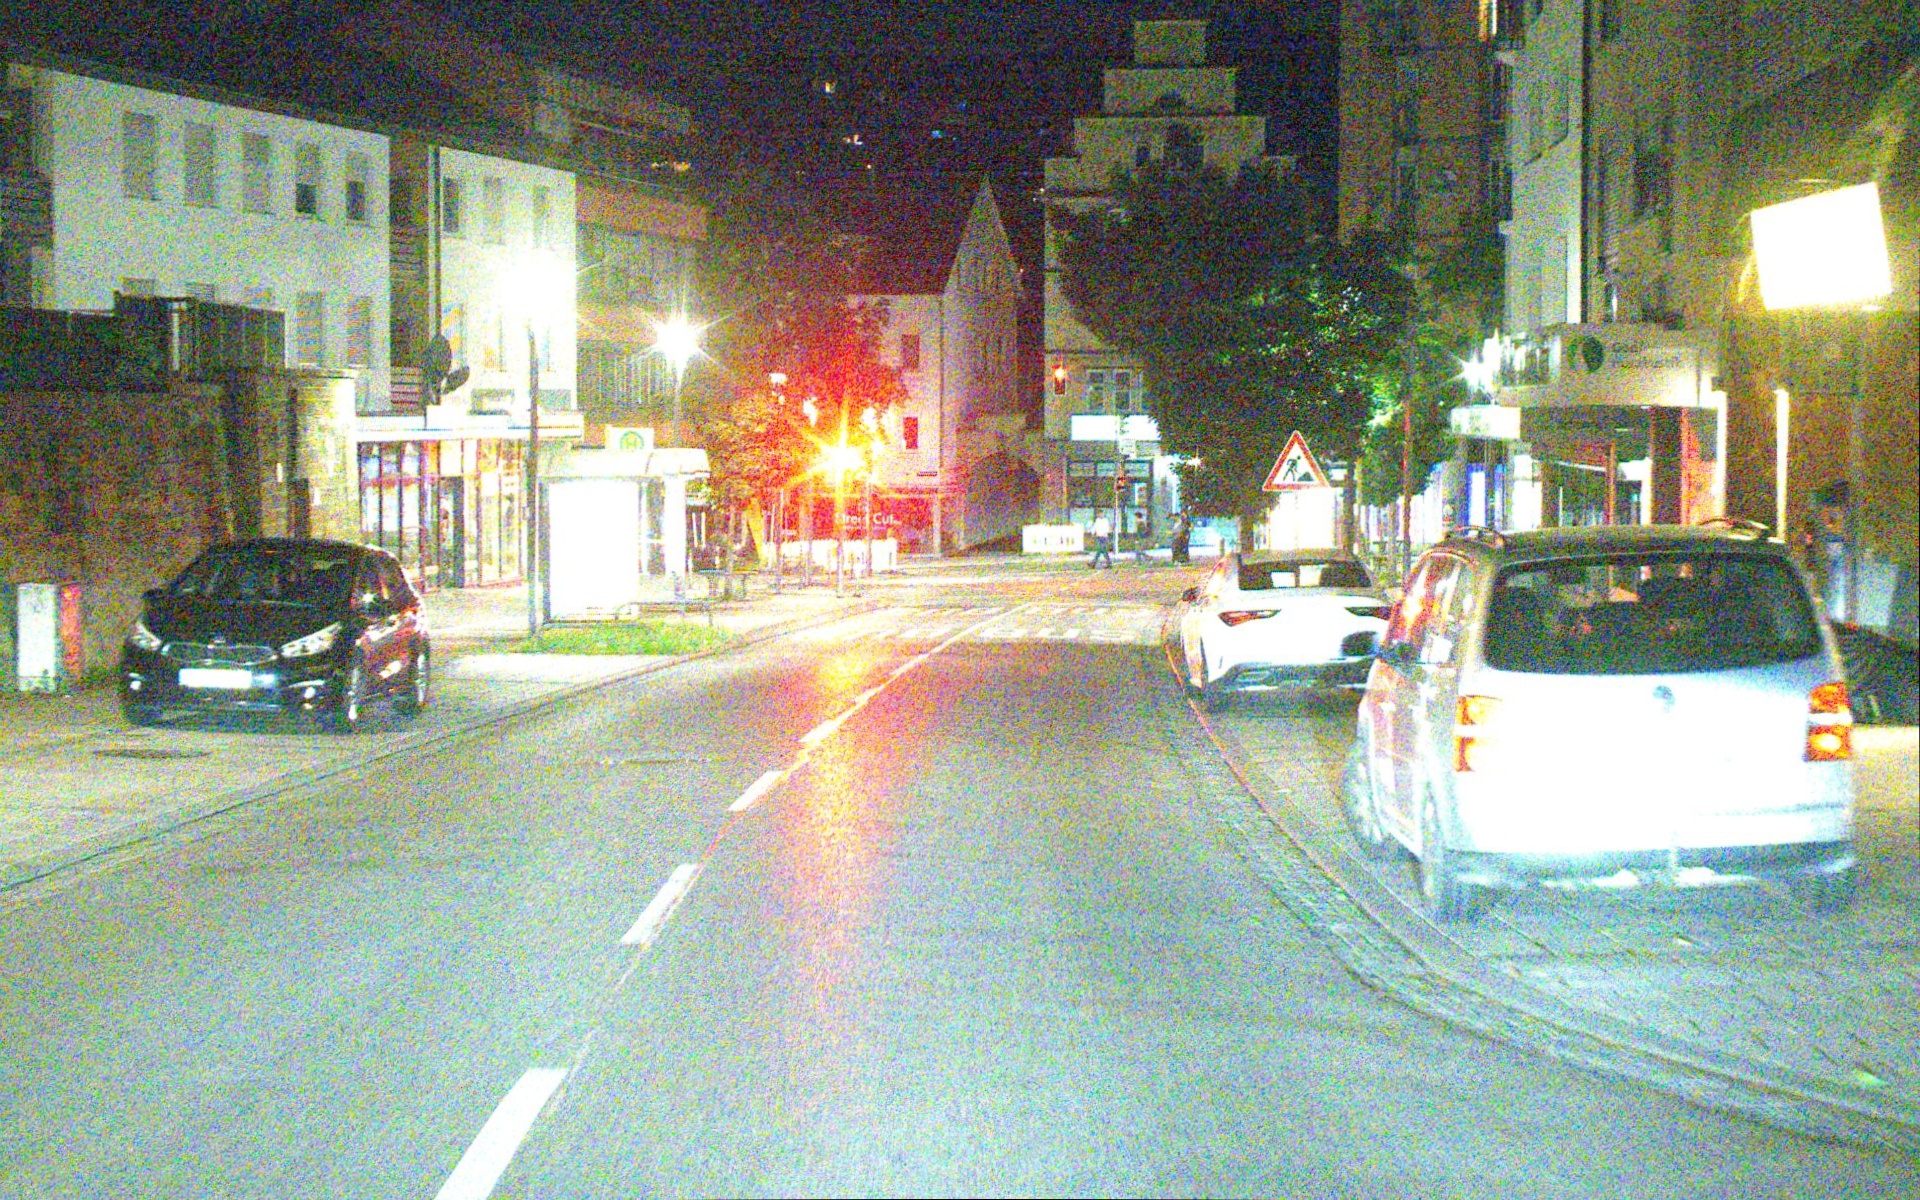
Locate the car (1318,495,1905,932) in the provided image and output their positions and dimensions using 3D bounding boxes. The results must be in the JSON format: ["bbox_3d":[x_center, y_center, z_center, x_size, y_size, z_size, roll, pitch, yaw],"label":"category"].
[{"bbox_3d":[2.730,0.394,15.387,1.787,1.636,4.380,-1,1,0],"label":"car"}]

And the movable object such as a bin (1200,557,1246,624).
[{"bbox_3d":[3.752,-0.138,49.091,0.524,0.934,0.629,1,0,-6],"label":"movable object such as a bin"}]

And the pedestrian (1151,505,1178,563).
[{"bbox_3d":[6.437,-2.073,108.234,0.567,1.789,0.718,1,0,-23],"label":"pedestrian"}]

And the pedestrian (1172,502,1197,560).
[{"bbox_3d":[7.034,-2.162,107.840,0.735,1.789,0.718,1,0,3],"label":"pedestrian"}]

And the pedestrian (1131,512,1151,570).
[{"bbox_3d":[5.714,-1.861,108.374,0.567,1.789,0.718,1,0,1],"label":"pedestrian"}]

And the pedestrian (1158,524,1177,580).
[{"bbox_3d":[6.663,-1.547,110.464,0.567,1.789,0.718,1,0,2],"label":"pedestrian"}]

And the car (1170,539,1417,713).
[{"bbox_3d":[2.973,0.182,31.477,1.857,1.437,4.594,-1,1,1],"label":"car"}]

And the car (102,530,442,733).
[{"bbox_3d":[-5.410,0.192,27.528,1.692,1.432,4.128,2,1,2],"label":"car"}]

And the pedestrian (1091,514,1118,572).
[{"bbox_3d":[4.496,-1.774,107.217,0.716,1.789,0.569,1,0,12],"label":"pedestrian"}]
